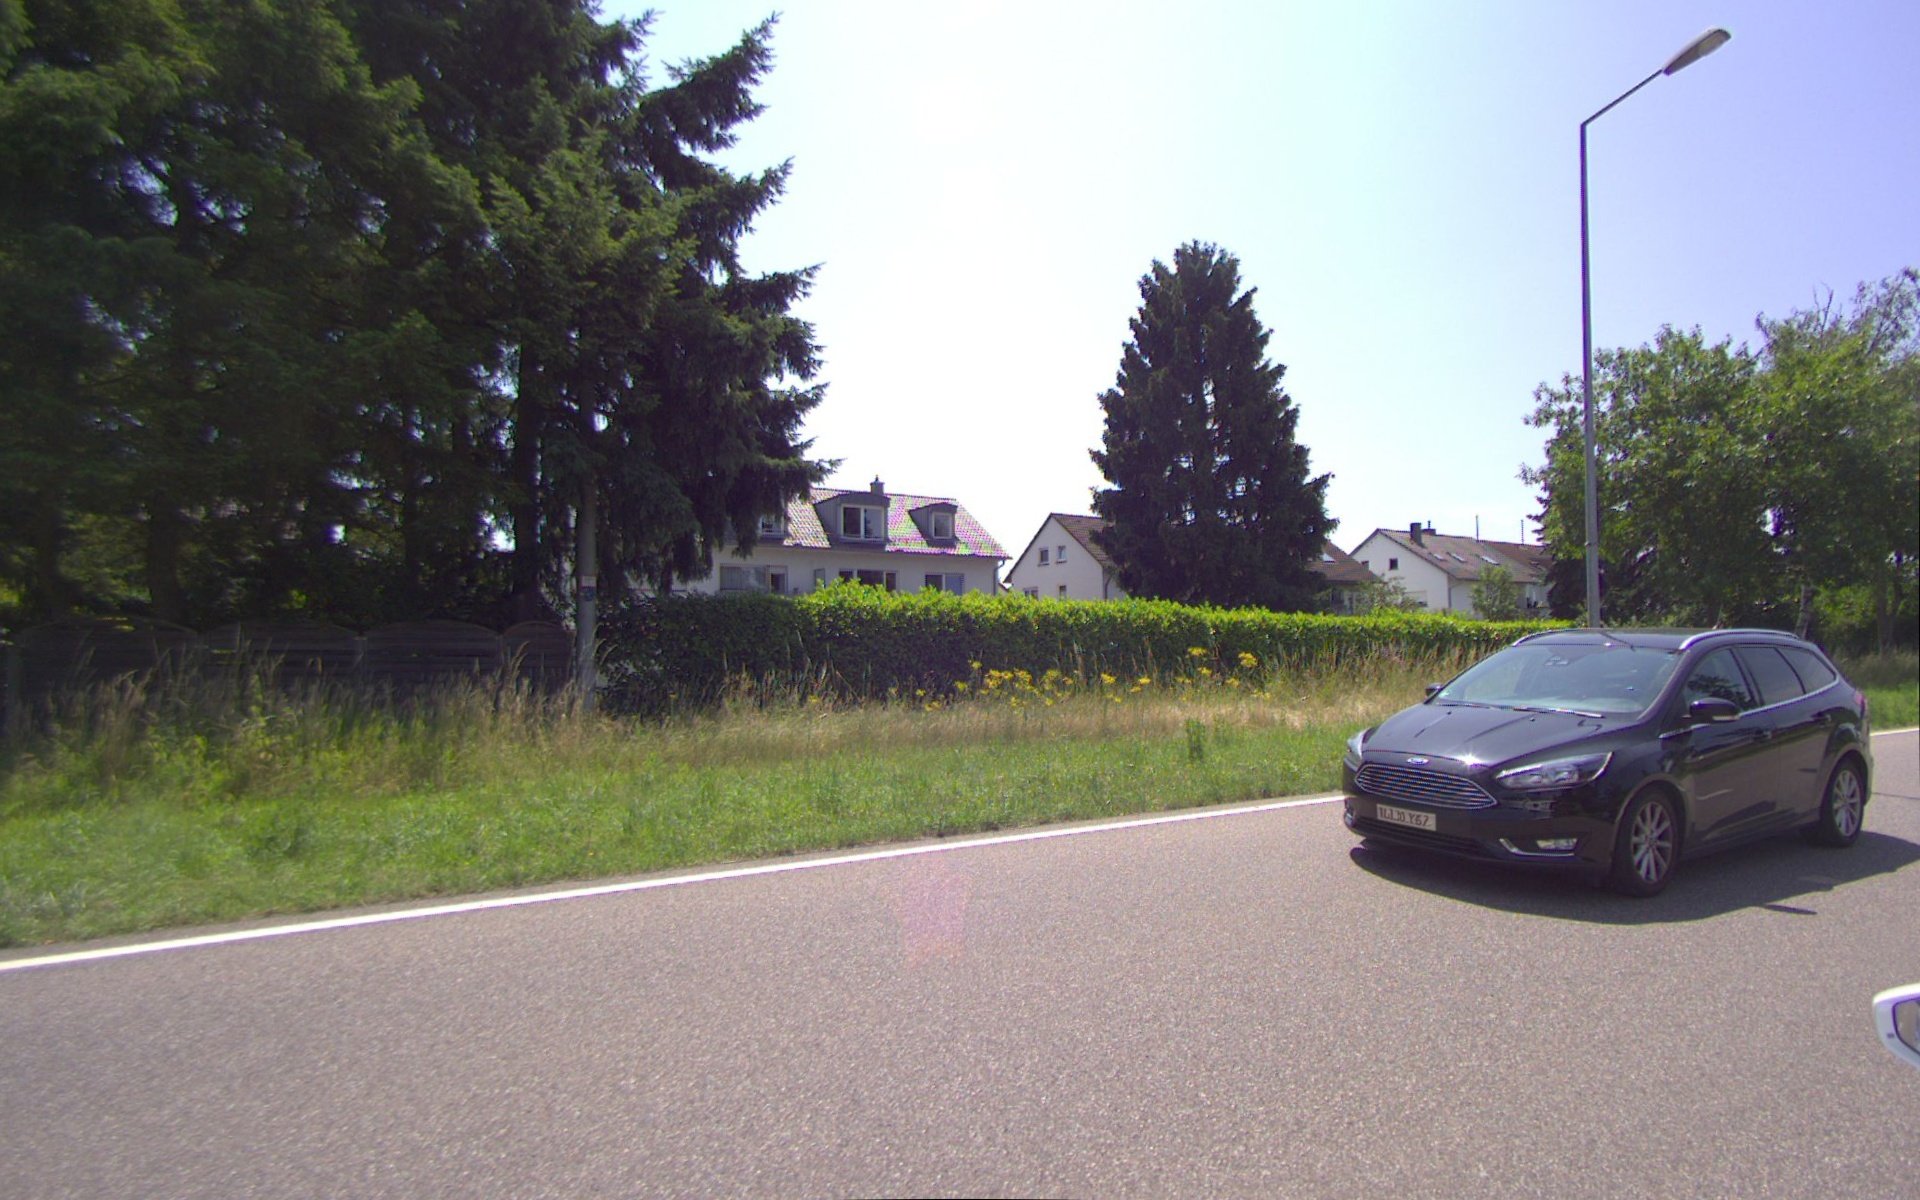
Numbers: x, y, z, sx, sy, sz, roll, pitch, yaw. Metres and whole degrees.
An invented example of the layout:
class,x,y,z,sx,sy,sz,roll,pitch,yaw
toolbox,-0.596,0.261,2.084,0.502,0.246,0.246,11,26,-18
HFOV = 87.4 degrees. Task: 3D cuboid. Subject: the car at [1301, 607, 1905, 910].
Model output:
class,x,y,z,sx,sy,sz,roll,pitch,yaw
car,4.513,0.857,6.879,4.388,1.511,1.692,1,-2,-31
